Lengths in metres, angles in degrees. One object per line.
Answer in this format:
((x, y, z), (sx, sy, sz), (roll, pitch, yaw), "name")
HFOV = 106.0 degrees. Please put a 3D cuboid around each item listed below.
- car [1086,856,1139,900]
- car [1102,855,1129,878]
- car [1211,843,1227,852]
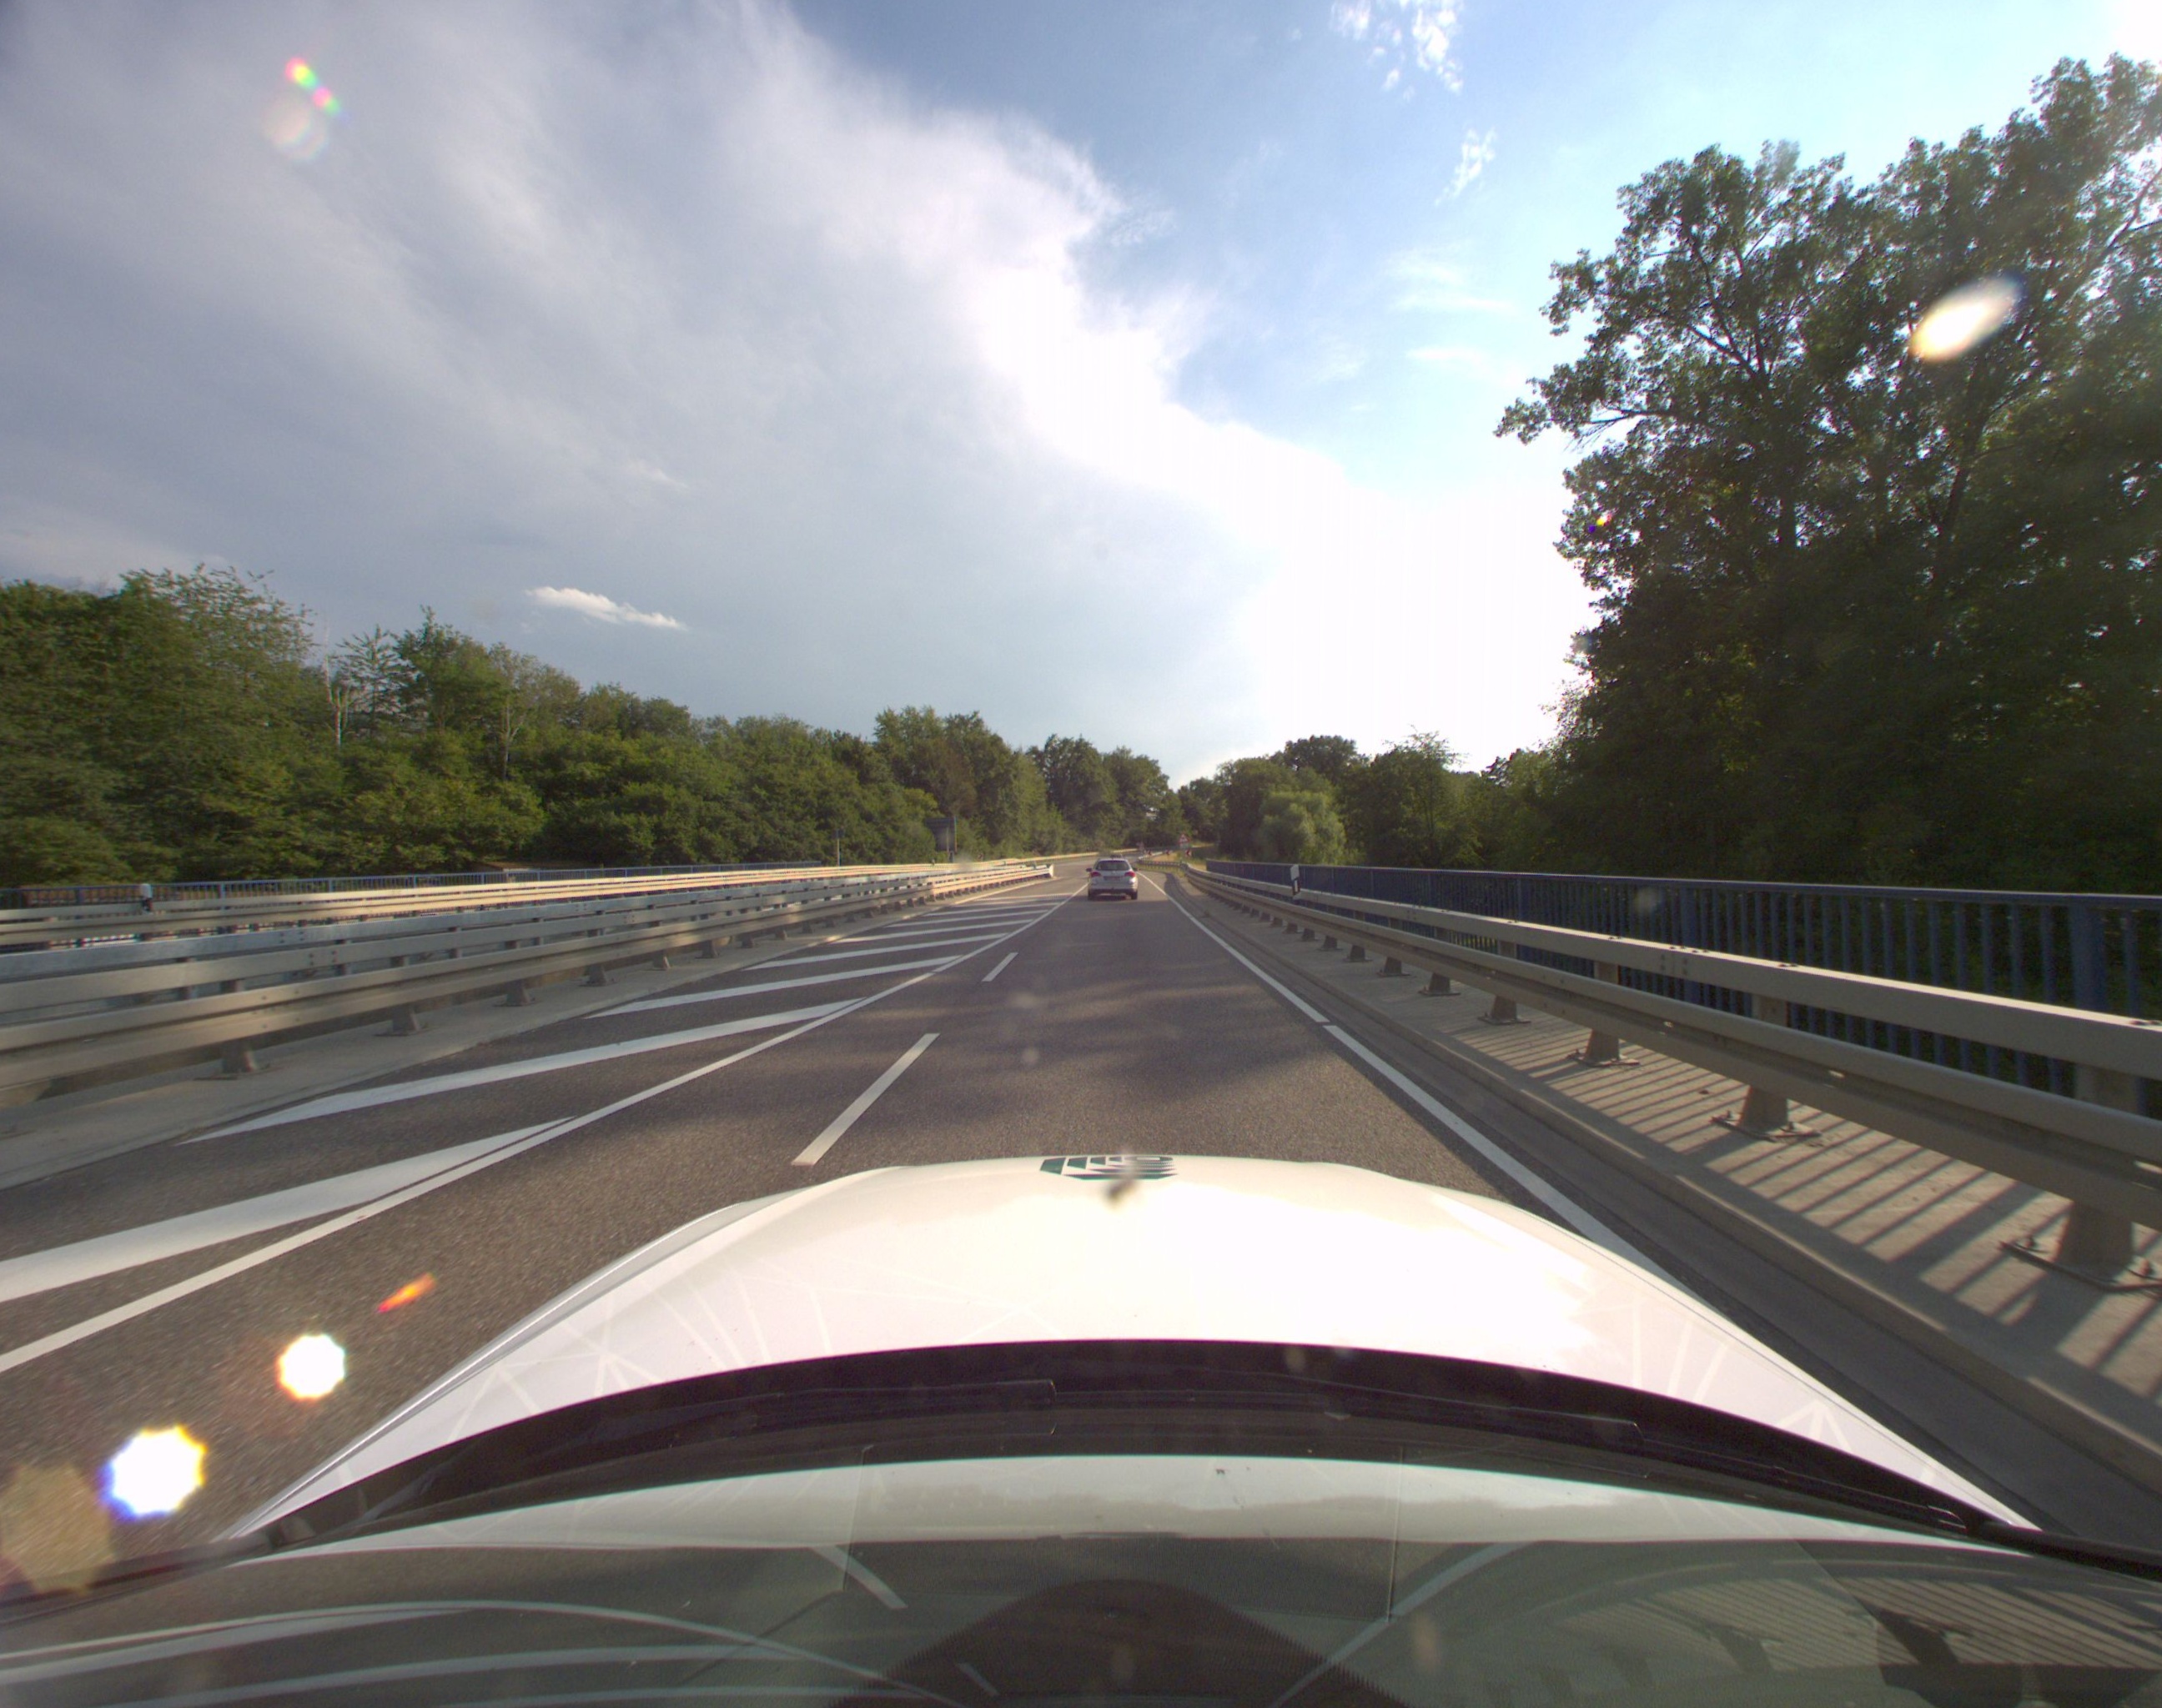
((1.130, 0.856, 30.111), (1.802, 1.486, 4.000), (-1, -1, 1), "car")
((2.379, 0.882, 57.210), (1.802, 1.486, 4.000), (-1, -1, 1), "car")
((30.530, -1.461, 180.214), (1.974, 2.014, 4.025), (-2, -1, 37), "car")
